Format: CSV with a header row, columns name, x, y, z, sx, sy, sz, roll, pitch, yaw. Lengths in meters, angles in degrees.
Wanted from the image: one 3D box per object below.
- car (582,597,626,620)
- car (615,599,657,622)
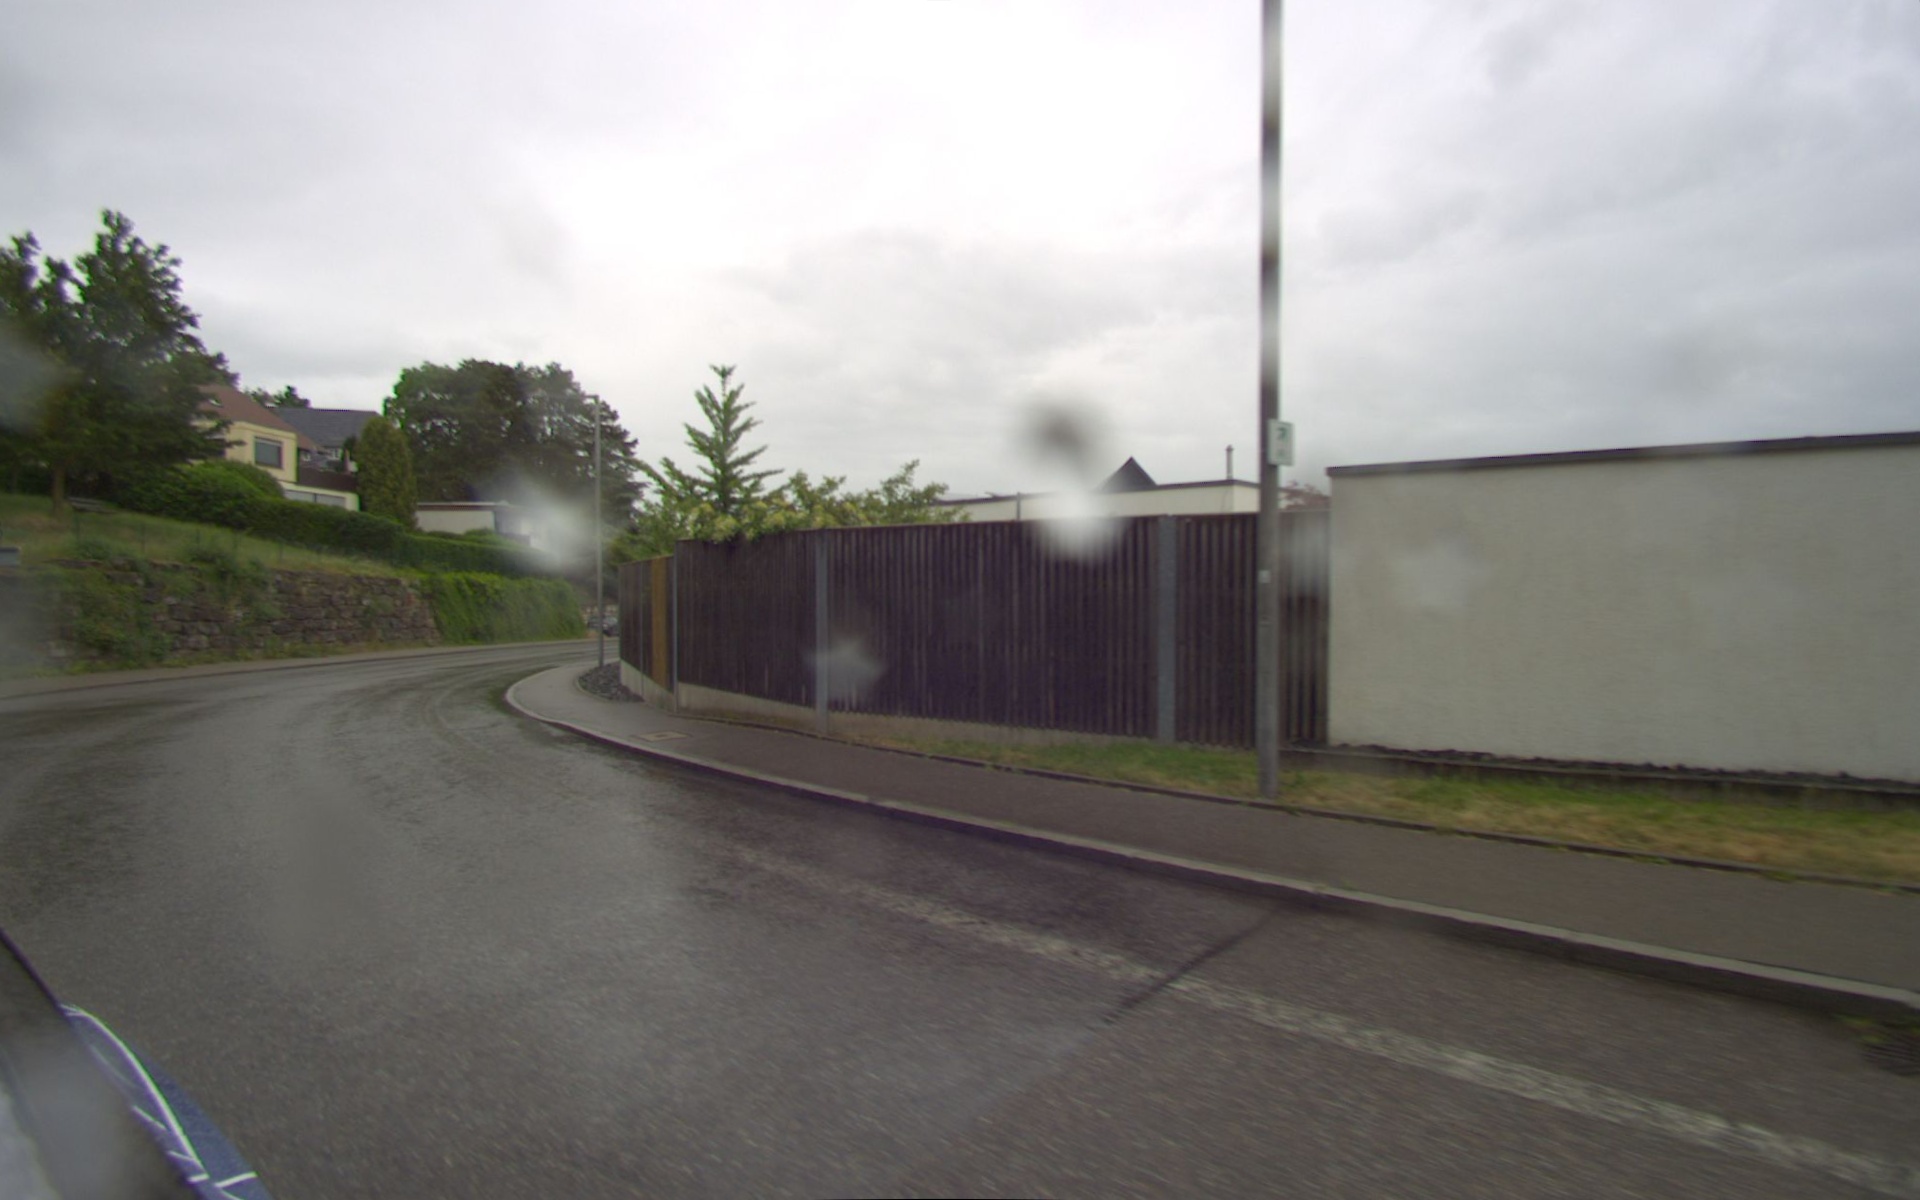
name,x,y,z,sx,sy,sz,roll,pitch,yaw
car,-25.913,0.599,73.816,1.791,1.575,4.010,2,0,0
car,-25.676,0.828,80.324,1.971,1.683,4.545,2,0,-1
